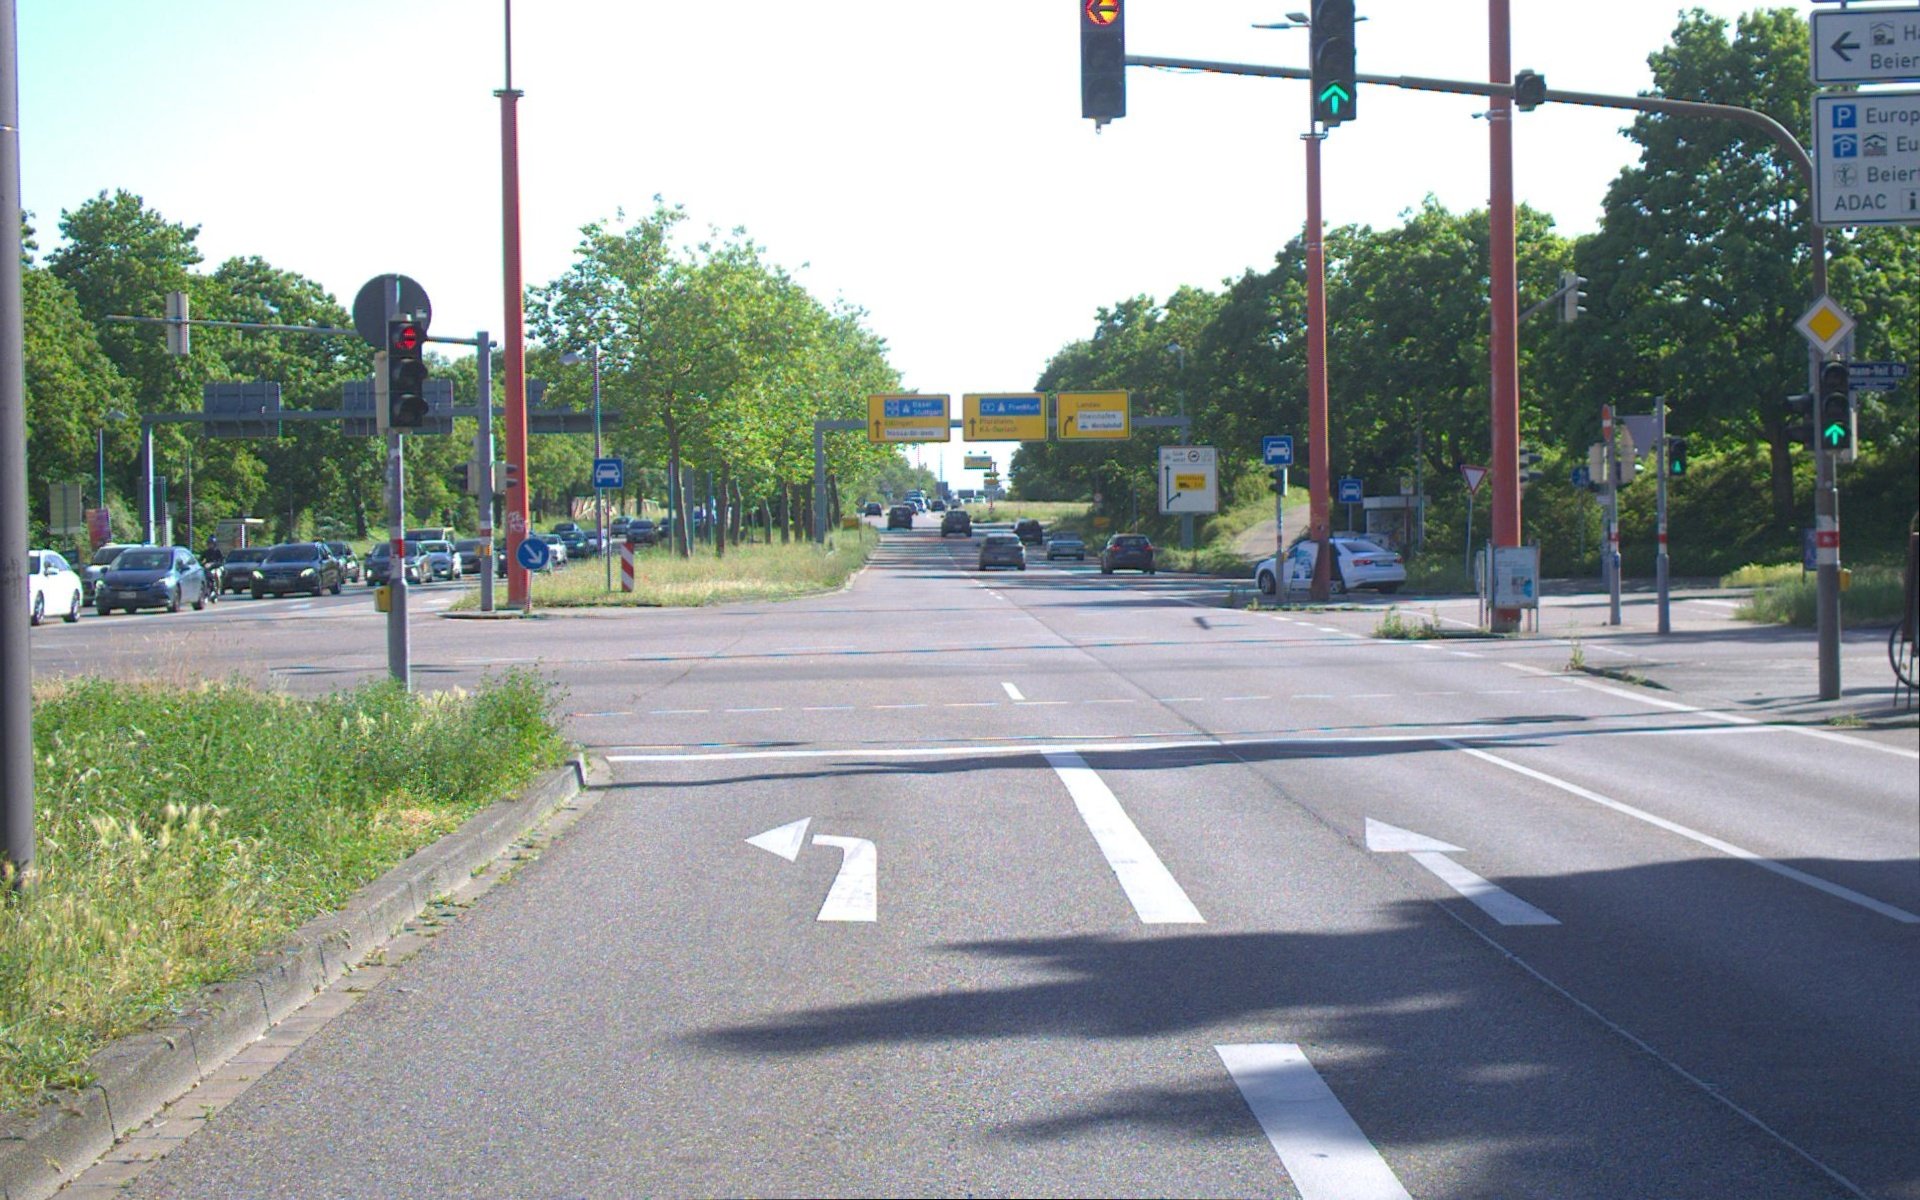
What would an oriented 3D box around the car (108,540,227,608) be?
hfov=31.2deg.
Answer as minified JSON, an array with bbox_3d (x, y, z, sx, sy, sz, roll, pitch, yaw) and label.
[{"bbox_3d":[-19.554,-0.651,84.996,1.838,1.595,4.438,-1,1,1],"label":"car"}]

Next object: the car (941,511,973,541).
[{"bbox_3d":[-0.203,-5.044,235.638,2.154,2.007,4.000,-1,1,-1],"label":"car"}]

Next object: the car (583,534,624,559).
[{"bbox_3d":[-19.072,-2.849,183.977,2.003,1.303,4.001,-1,1,-4],"label":"car"}]

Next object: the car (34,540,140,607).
[{"bbox_3d":[-23.231,-0.723,91.623,1.800,1.702,4.060,-1,1,-1],"label":"car"}]

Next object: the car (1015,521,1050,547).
[{"bbox_3d":[4.486,-4.095,213.186,1.993,1.535,4.000,-1,1,-1],"label":"car"}]

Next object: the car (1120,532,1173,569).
[{"bbox_3d":[6.915,-1.840,127.677,1.738,1.337,3.082,-1,1,-1],"label":"car"}]

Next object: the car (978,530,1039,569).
[{"bbox_3d":[1.892,-2.005,135.123,1.993,1.491,4.001,-1,1,-5],"label":"car"}]

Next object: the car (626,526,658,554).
[{"bbox_3d":[-19.990,-3.763,216.272,1.625,1.733,4.000,-1,1,0],"label":"car"}]

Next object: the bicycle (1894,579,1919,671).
[{"bbox_3d":[10.207,0.214,33.325,2.161,0.875,0.560,-1,1,-5],"label":"bicycle"}]

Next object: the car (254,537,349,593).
[{"bbox_3d":[-18.010,-0.969,94.230,1.876,1.480,4.606,0,1,-2],"label":"car"}]

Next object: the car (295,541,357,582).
[{"bbox_3d":[-23.251,-1.403,126.127,1.544,1.428,3.886,-2,1,-1],"label":"car"}]

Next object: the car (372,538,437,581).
[{"bbox_3d":[-18.482,-1.372,114.458,1.548,1.372,4.263,-1,1,-1],"label":"car"}]

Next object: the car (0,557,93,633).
[{"bbox_3d":[-18.170,-0.109,66.413,1.703,1.418,4.643,-1,1,-1],"label":"car"}]

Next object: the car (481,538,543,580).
[{"bbox_3d":[-16.120,-1.466,123.733,1.701,1.416,4.000,2,1,-1],"label":"car"}]

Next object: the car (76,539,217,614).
[{"bbox_3d":[-18.199,-0.551,77.088,1.993,1.589,4.464,-1,1,1],"label":"car"}]

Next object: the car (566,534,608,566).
[{"bbox_3d":[-18.826,-2.528,173.461,1.704,1.553,3.803,0,1,0],"label":"car"}]

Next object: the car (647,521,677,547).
[{"bbox_3d":[-20.567,-4.532,237.255,1.657,1.741,4.000,0,1,0],"label":"car"}]

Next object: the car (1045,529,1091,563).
[{"bbox_3d":[5.057,-2.536,161.622,1.993,1.535,4.000,0,1,-1],"label":"car"}]

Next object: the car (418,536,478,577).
[{"bbox_3d":[-18.461,-1.585,124.102,1.605,1.454,3.950,-1,1,0],"label":"car"}]

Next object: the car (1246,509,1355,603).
[{"bbox_3d":[7.327,-0.962,73.744,1.994,1.881,3.999,3,2,9],"label":"car"}]

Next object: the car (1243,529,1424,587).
[{"bbox_3d":[9.080,-1.036,83.858,2.054,1.366,4.391,-1,1,-33],"label":"car"}]

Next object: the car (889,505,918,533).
[{"bbox_3d":[-4.287,-6.111,259.803,1.993,2.007,4.001,0,1,-3],"label":"car"}]

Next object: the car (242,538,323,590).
[{"bbox_3d":[-21.229,-1.139,107.823,1.876,1.570,4.000,0,1,-2],"label":"car"}]
